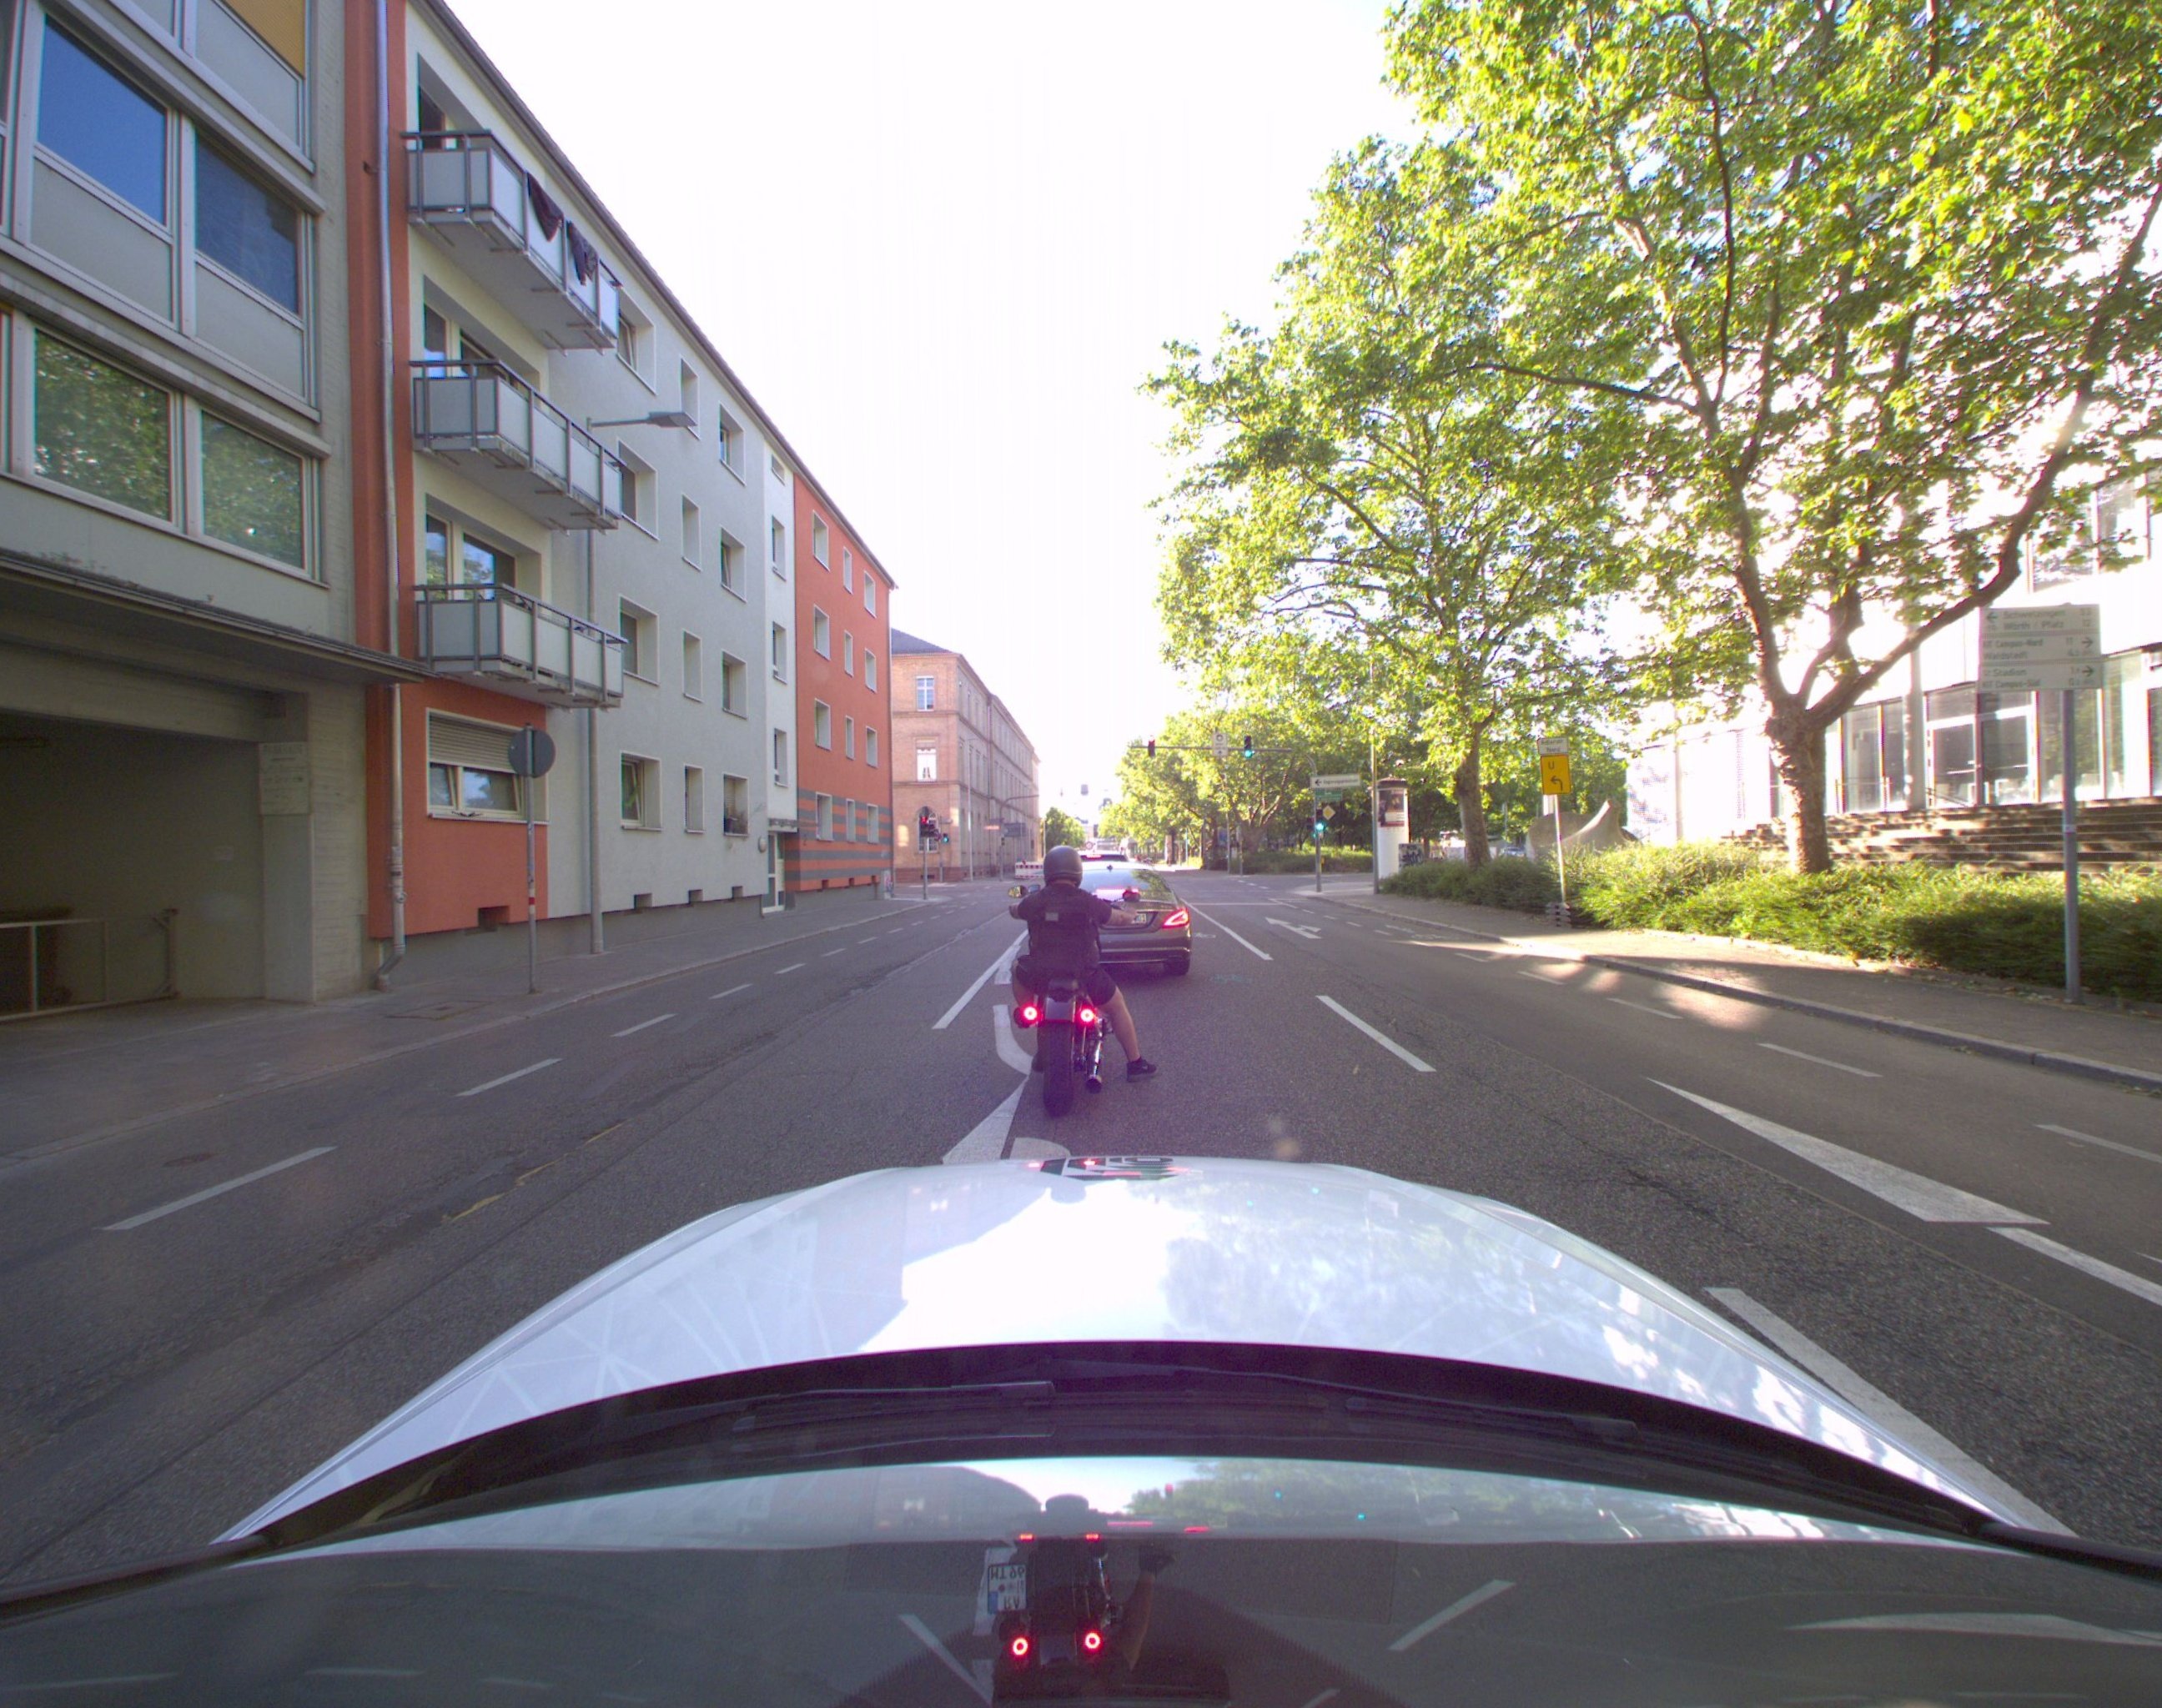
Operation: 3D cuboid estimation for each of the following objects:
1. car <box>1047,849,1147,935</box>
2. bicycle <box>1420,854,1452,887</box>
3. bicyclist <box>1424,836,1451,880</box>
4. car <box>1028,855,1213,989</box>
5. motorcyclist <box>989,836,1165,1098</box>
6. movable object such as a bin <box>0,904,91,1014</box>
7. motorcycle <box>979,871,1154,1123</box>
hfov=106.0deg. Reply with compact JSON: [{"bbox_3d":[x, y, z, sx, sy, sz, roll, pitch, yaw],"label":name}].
[{"bbox_3d":[0.265,0.694,16.894,1.808,1.536,3.847,-1,0,-1],"label":"car"},{"bbox_3d":[12.928,0.581,29.589,0.709,1.172,2.190,-1,-1,33],"label":"bicycle"},{"bbox_3d":[13.019,0.143,29.714,0.709,1.582,0.942,-1,-1,35],"label":"bicyclist"},{"bbox_3d":[0.313,0.756,11.244,1.900,1.441,4.279,-1,0,-6],"label":"car"},{"bbox_3d":[-0.009,0.687,5.389,1.057,1.582,0.908,0,-1,1],"label":"motorcyclist"},{"bbox_3d":[-11.328,1.095,8.647,0.736,1.074,0.716,0,-1,2],"label":"movable object such as a bin"},{"bbox_3d":[-0.044,0.812,5.659,0.958,1.357,2.321,0,-1,2],"label":"motorcycle"}]
